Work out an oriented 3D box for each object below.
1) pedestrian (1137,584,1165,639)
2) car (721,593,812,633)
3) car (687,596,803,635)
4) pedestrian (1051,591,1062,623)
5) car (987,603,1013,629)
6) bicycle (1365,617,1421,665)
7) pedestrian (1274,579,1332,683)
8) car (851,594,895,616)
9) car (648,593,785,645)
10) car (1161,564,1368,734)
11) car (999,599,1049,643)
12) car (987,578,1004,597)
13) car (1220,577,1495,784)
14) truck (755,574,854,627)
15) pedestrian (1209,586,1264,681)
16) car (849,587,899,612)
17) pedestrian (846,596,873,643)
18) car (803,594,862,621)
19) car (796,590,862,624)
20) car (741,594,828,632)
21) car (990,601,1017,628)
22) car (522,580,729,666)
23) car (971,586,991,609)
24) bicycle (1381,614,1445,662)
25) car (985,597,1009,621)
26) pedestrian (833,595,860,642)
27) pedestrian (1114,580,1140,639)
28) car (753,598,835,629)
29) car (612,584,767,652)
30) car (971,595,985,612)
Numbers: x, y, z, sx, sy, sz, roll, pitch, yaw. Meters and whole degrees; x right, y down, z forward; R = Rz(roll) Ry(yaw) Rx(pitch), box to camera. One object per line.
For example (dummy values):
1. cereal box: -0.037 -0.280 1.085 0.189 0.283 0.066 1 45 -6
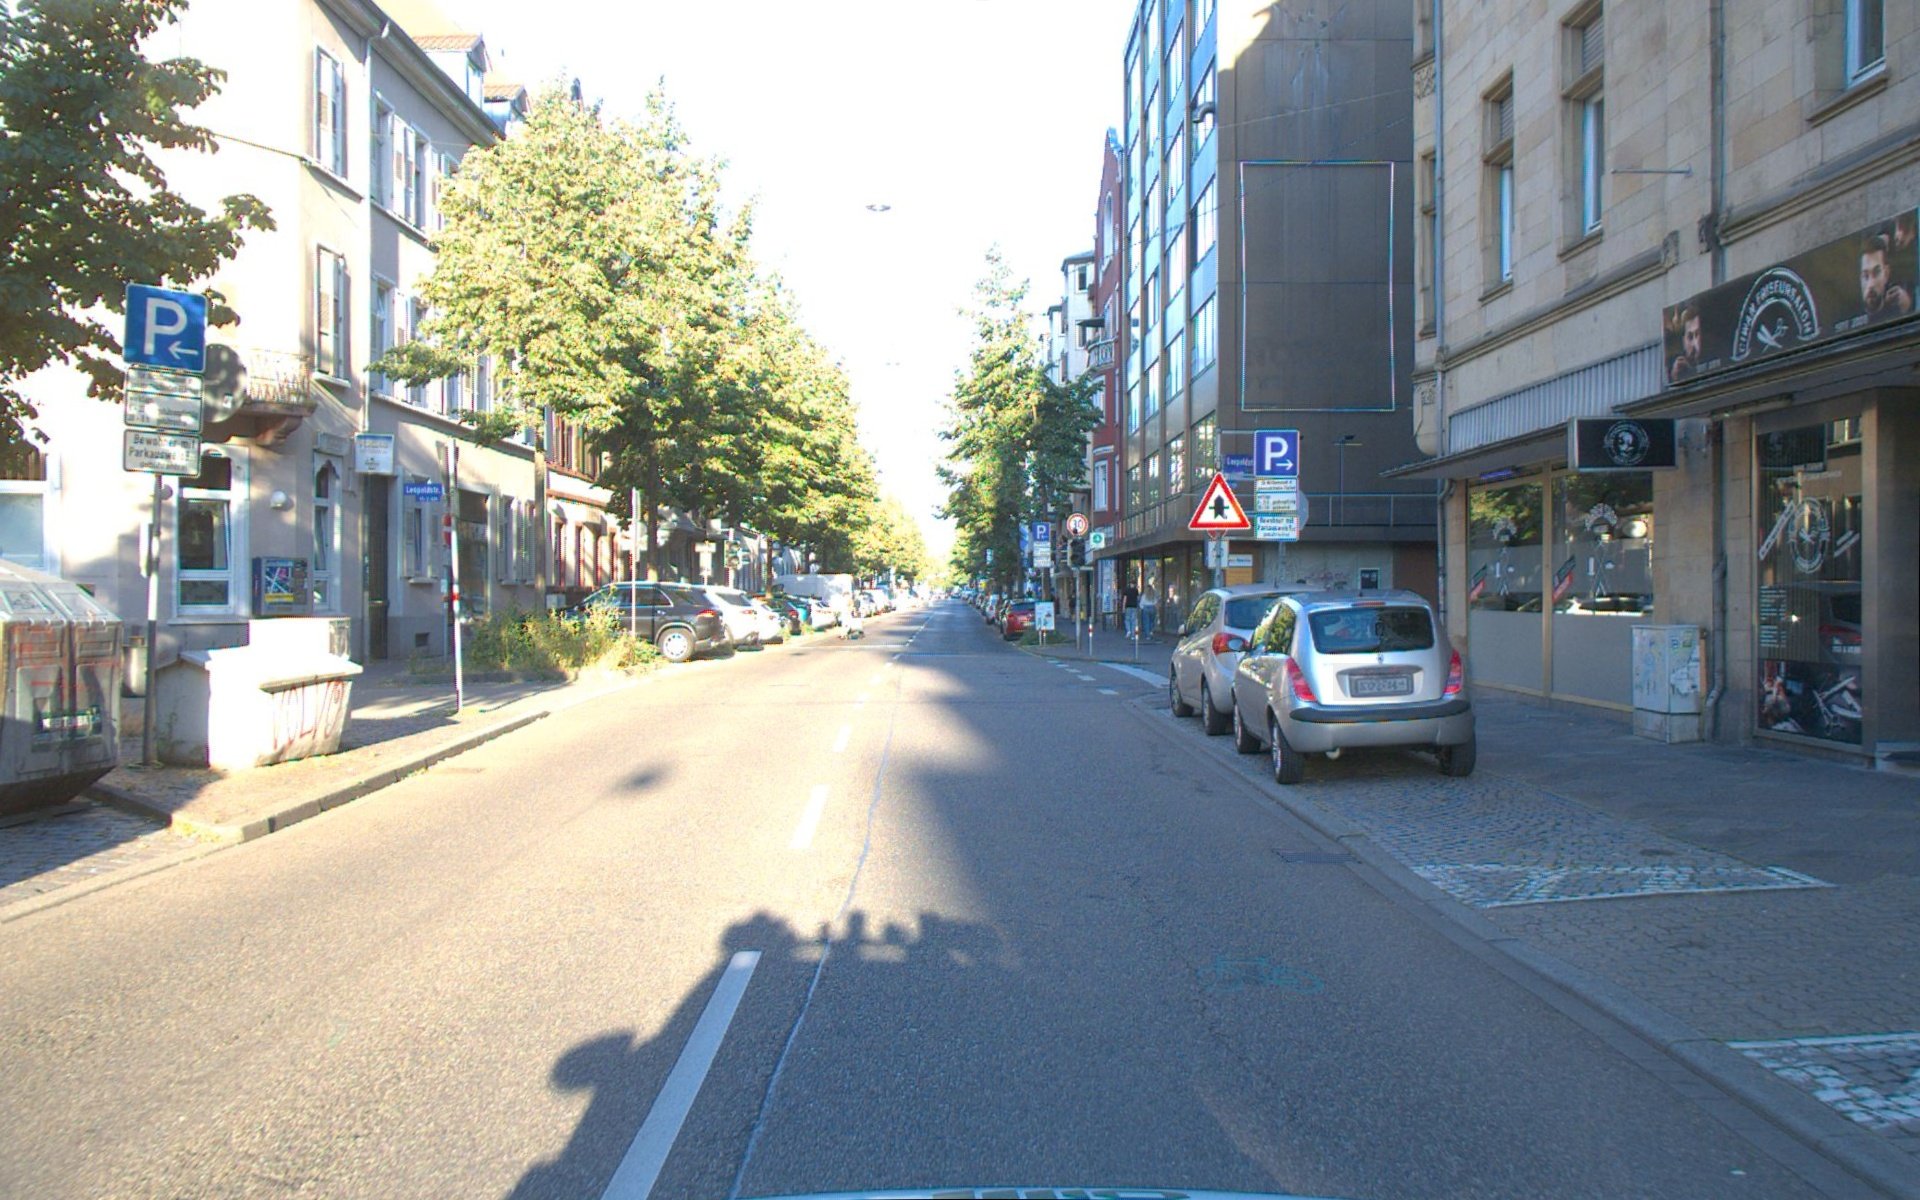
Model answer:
1. pedestrian: 6.173 0.365 53.444 0.750 1.718 0.786 -2 0 -3
2. car: -8.208 0.538 70.326 3.663 1.671 2.000 0 0 -1
3. car: -8.475 0.613 65.498 4.336 1.529 2.000 0 0 -1
4. pedestrian: 5.003 0.354 86.086 0.523 1.650 0.534 1 0 0
5. car: 2.073 0.828 86.427 1.182 1.323 2.659 1 -1 -3
6. bicycle: 9.962 0.935 38.087 0.408 1.048 1.682 0 1 -18
7. pedestrian: 6.103 0.535 29.453 0.739 1.798 1.222 1 0 -1
8. car: -7.497 0.421 142.604 3.663 1.738 2.000 1 0 -1
9. car: -7.763 0.593 52.986 4.090 1.533 2.000 1 0 -1
10. car: 3.488 0.500 19.634 1.662 1.800 3.999 0 1 -1
11. car: 2.364 0.778 61.801 1.545 1.569 3.395 -2 0 -3
12. car: 3.097 -1.099 146.082 1.283 1.628 2.659 1 -1 -3
13. car: 3.449 0.613 15.053 1.645 1.588 4.001 -2 1 2
14. truck: -7.914 0.030 84.544 4.840 2.661 2.000 0 0 -1
15. pedestrian: 4.983 0.586 29.916 0.739 1.669 1.259 1 0 -1
16. car: -6.486 -0.046 124.808 3.663 1.738 2.000 1 0 -1
17. pedestrian: -3.761 0.710 61.869 0.717 1.712 0.746 -1 2 -40
18. car: -8.120 0.469 105.714 3.663 1.738 2.000 0 0 -1
19. car: -7.534 0.404 95.167 3.663 1.891 2.000 0 0 -1
20. car: -7.729 0.593 73.093 3.663 1.624 1.999 0 -2 -1
21. car: 2.185 0.720 83.347 1.182 1.323 2.659 1 -1 -3
22. car: -7.668 0.515 38.229 4.358 1.867 2.033 1 0 -1
23. car: 1.542 -0.155 120.020 1.283 1.628 2.659 1 -1 -3
24. bicycle: 10.762 0.890 39.344 0.409 1.056 1.760 0 1 -26
25. car: 2.104 0.534 93.892 1.182 1.323 2.659 1 -1 -3
26. pedestrian: -4.155 0.677 60.641 0.710 1.702 0.700 1 0 -40
27. pedestrian: 5.381 0.304 53.416 0.700 1.898 0.679 -2 0 -3
28. car: -7.812 0.629 78.128 3.663 1.475 2.000 0 0 -1
29. car: -7.313 0.472 44.985 3.908 1.738 1.833 1 0 -1
30. car: 1.809 0.349 165.642 1.283 1.628 2.659 1 -1 -3
